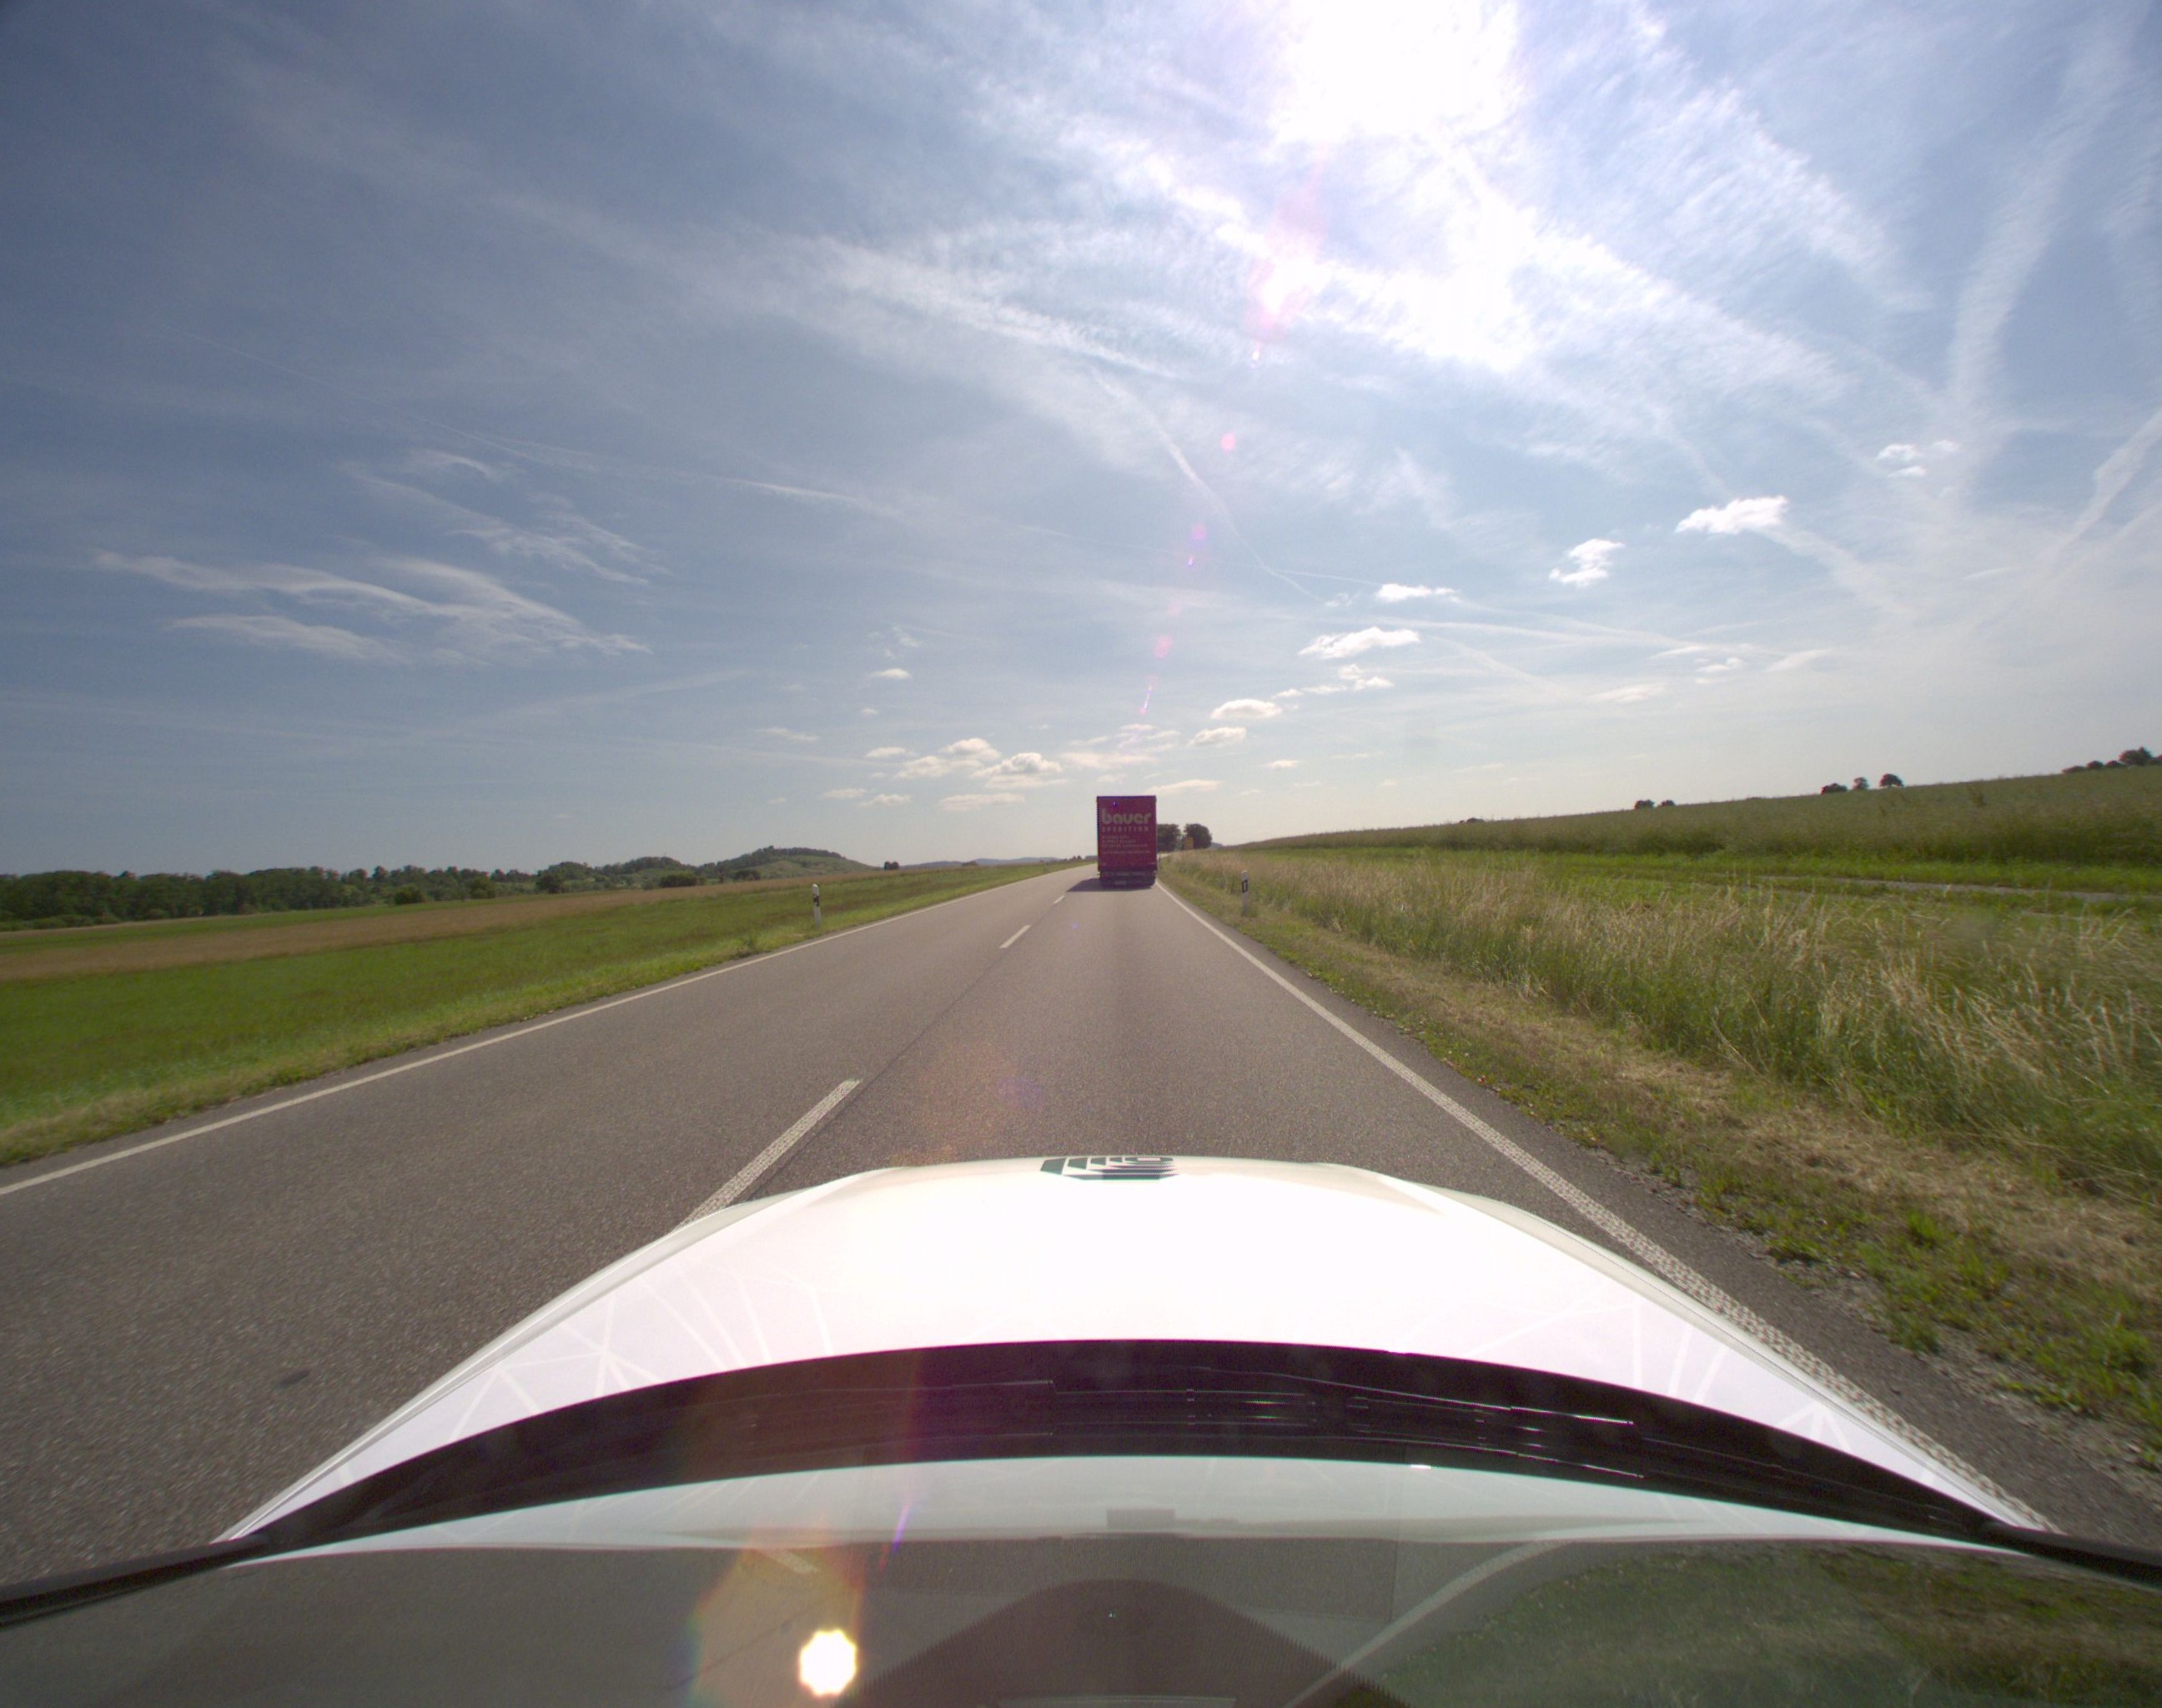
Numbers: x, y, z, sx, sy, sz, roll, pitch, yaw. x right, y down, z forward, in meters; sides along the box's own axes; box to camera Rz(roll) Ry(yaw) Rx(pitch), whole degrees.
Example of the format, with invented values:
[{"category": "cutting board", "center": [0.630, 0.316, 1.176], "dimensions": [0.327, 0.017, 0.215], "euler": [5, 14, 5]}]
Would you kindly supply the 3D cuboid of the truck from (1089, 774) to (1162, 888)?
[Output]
[{"category": "truck", "center": [2.198, -0.991, 38.906], "dimensions": [2.962, 4.713, 9.376], "euler": [-1, 0, 4]}]
